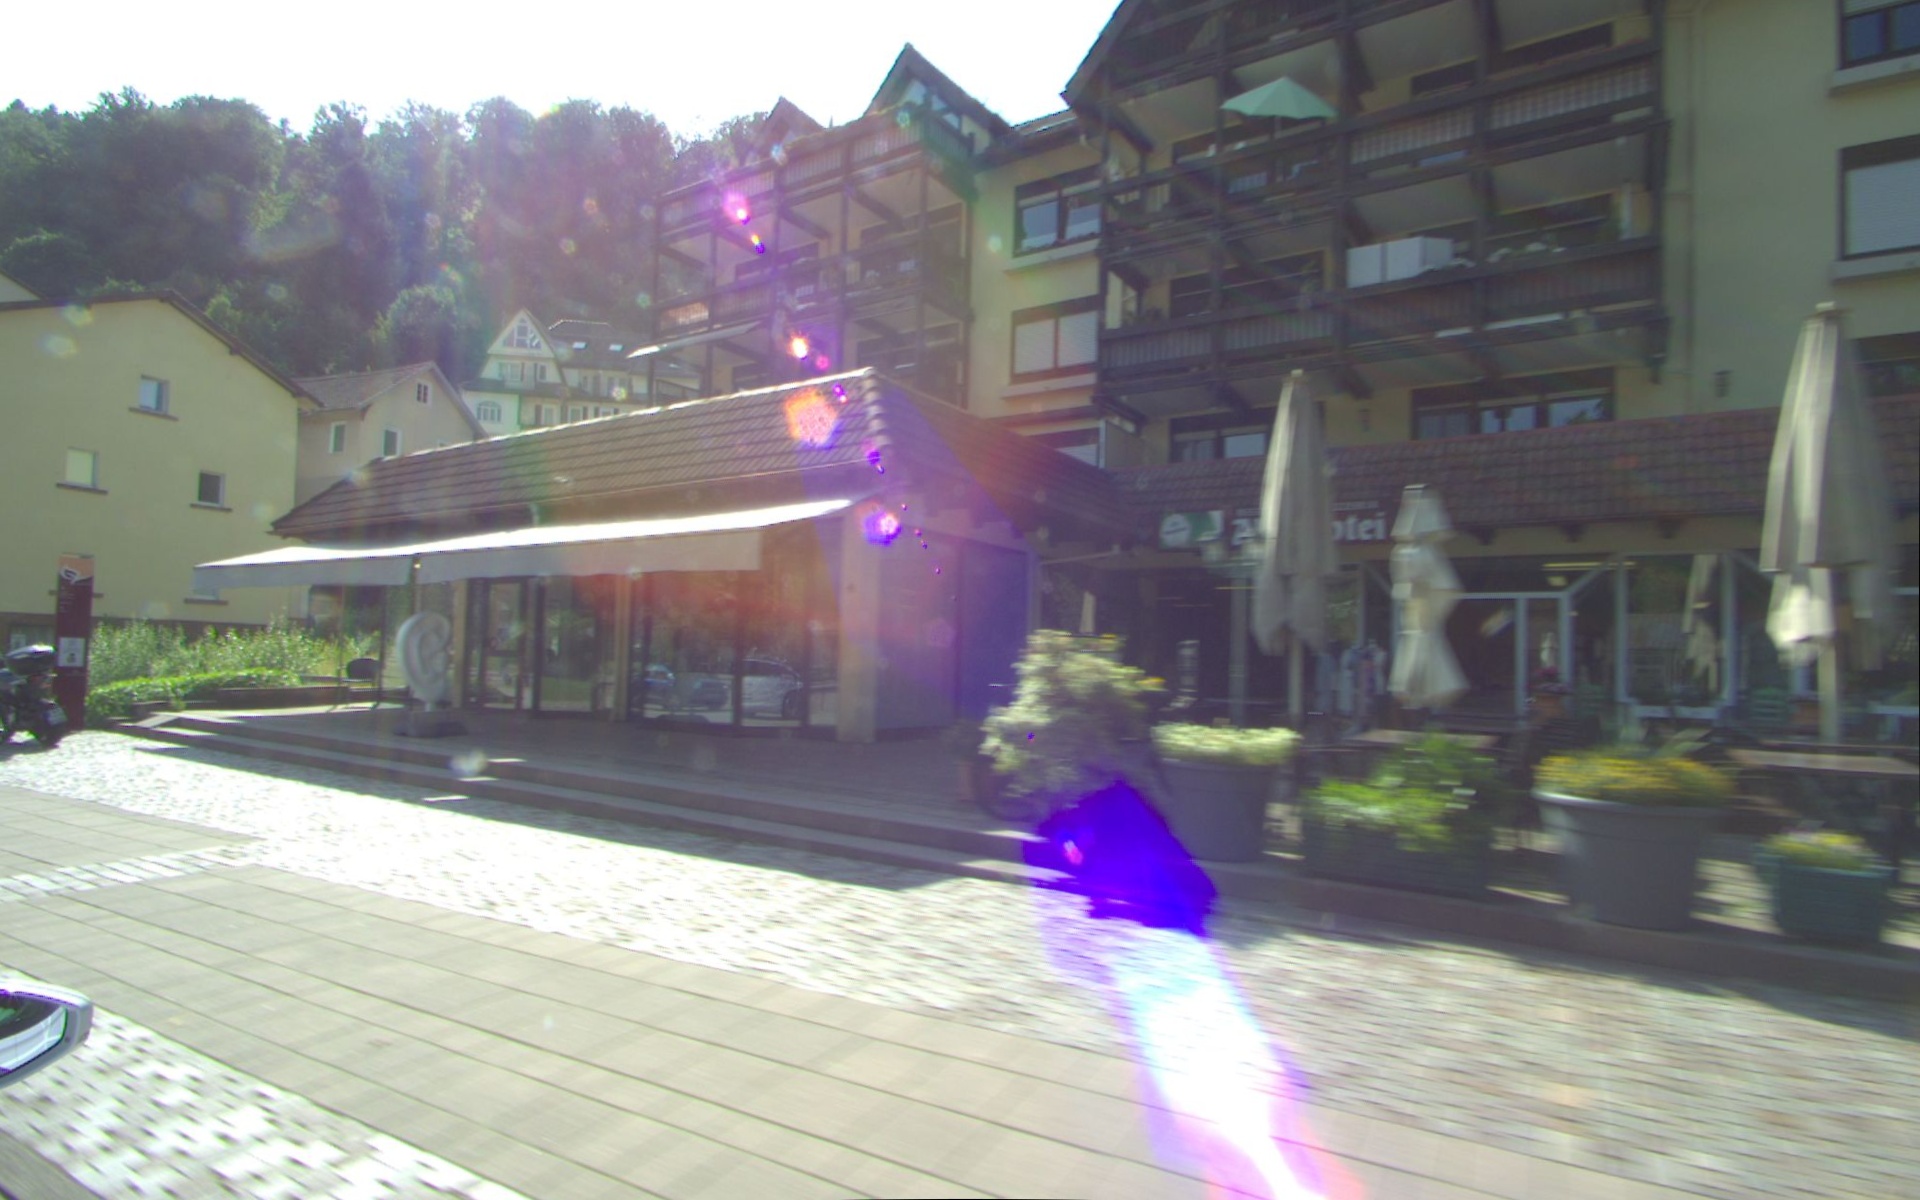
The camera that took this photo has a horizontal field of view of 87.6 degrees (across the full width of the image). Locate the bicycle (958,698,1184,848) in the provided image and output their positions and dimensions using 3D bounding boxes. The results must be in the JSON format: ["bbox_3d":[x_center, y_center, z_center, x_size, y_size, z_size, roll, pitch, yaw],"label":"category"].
[{"bbox_3d":[0.735,1.156,6.979,1.596,0.874,0.395,-1,-4,39],"label":"bicycle"}]

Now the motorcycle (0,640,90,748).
[{"bbox_3d":[-12.510,1.207,13.332,2.178,1.313,0.696,0,-1,29],"label":"motorcycle"}]

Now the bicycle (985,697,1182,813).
[{"bbox_3d":[1.040,1.280,8.409,1.585,0.852,0.397,1,-3,12],"label":"bicycle"}]
